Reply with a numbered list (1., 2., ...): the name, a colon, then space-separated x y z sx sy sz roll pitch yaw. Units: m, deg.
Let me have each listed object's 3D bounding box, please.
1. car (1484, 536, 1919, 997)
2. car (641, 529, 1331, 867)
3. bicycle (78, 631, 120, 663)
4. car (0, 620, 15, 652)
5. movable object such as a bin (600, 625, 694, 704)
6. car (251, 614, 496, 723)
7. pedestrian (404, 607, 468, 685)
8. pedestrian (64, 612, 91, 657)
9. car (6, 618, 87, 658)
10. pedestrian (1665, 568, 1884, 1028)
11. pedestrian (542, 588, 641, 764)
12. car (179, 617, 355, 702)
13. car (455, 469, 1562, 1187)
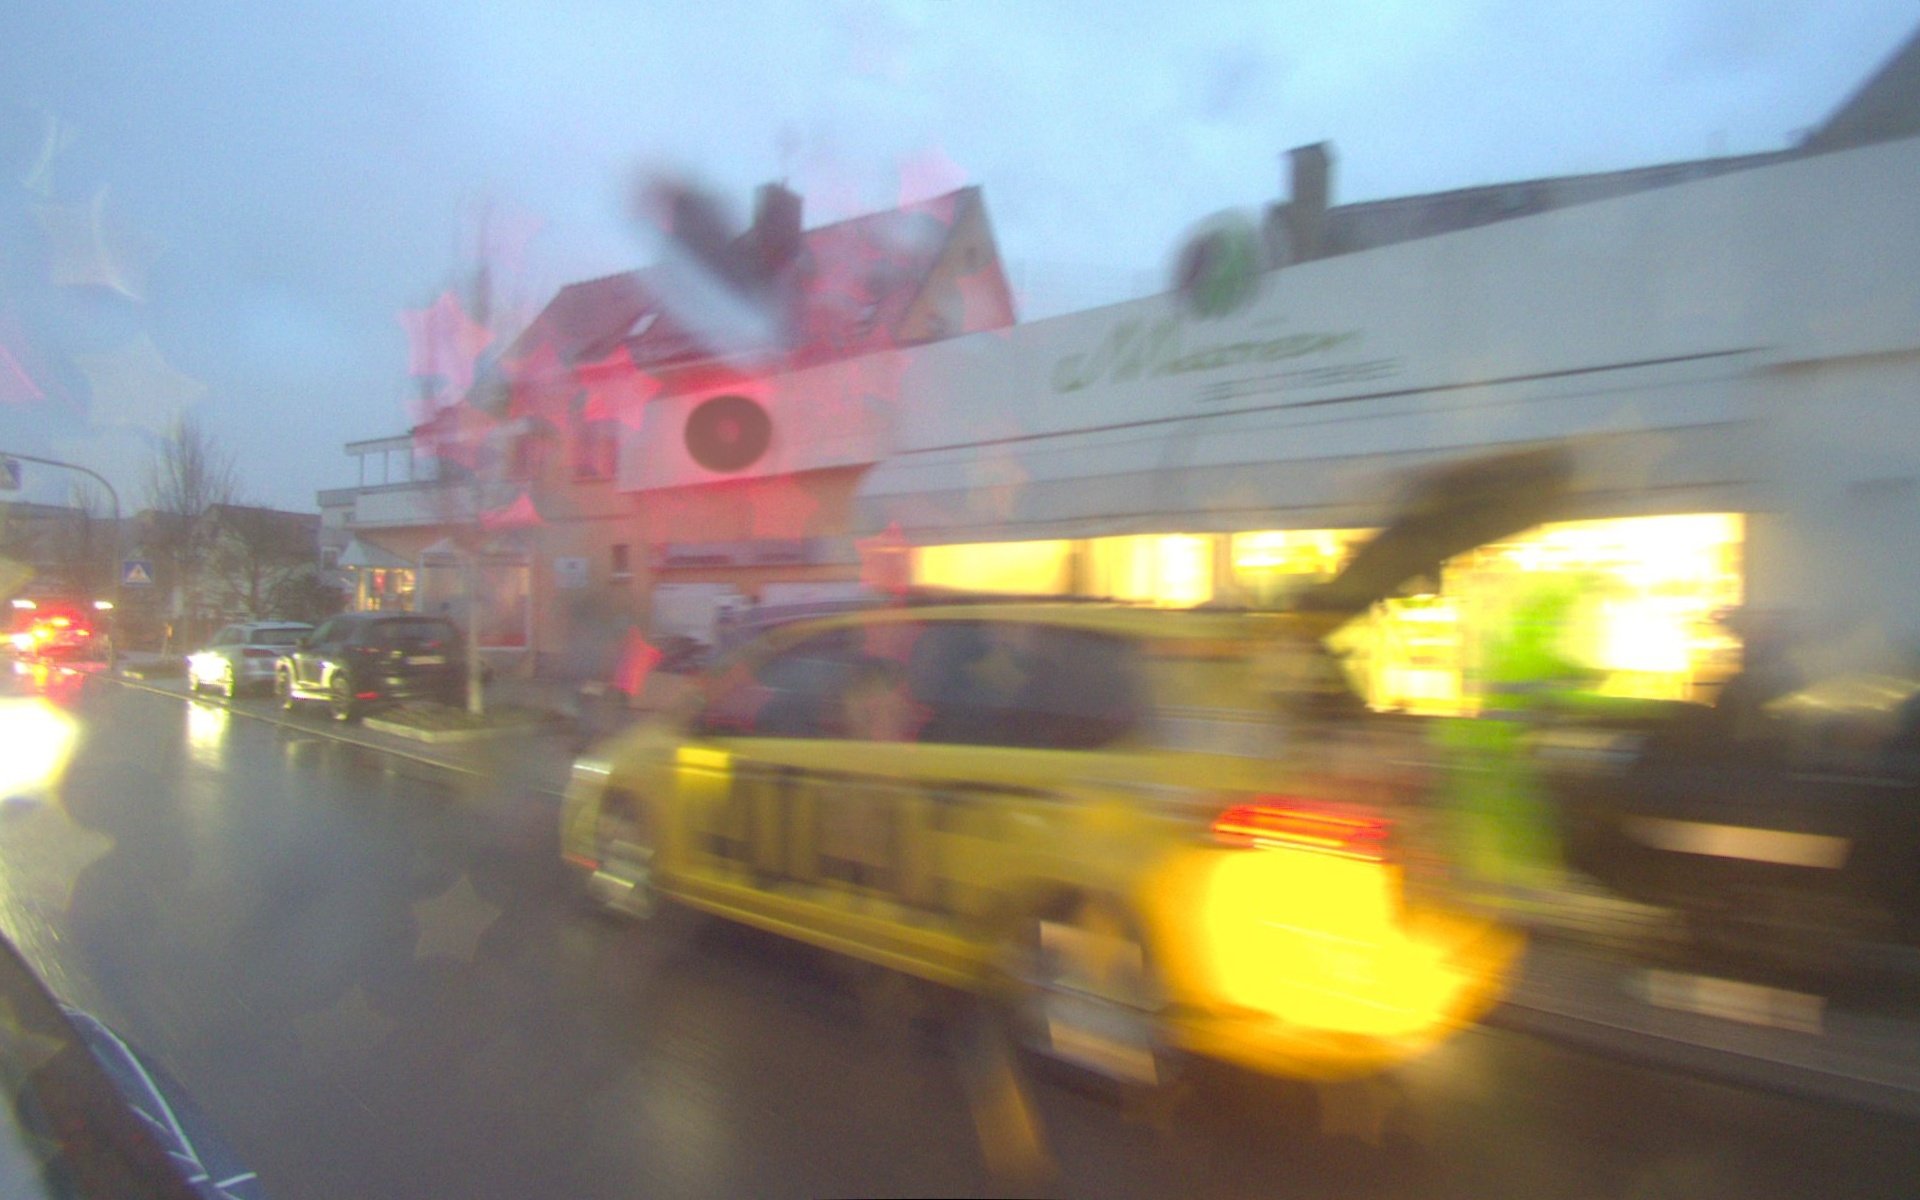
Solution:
1. car: 4.848 0.612 3.936 4.708 1.723 1.861 -1 0 40
2. car: -0.031 0.572 7.739 5.014 1.806 2.067 -1 -1 36
3. bicycle: -29.770 1.632 34.987 1.734 1.070 0.322 -2 -7 24
4. car: -46.006 1.685 47.604 4.371 1.442 1.678 -1 -1 39
5. movable object such as a bin: -5.694 1.174 18.474 0.886 1.364 1.330 0 -4 31
6. car: -9.752 0.998 16.641 4.975 1.534 1.973 -1 -1 41
7. pedestrian: -11.618 0.995 22.443 1.094 1.671 0.820 -1 0 33
8. pedestrian: -40.722 1.587 46.697 0.889 2.029 0.791 1 -2 -43
9. car: -36.968 1.504 40.921 4.177 1.500 1.767 0 0 39
10. pedestrian: 3.126 0.698 3.919 0.575 1.597 0.523 -2 -3 38
11. pedestrian: -4.210 0.829 11.533 0.995 1.890 0.946 0 -1 -24
12. car: -14.620 1.156 21.252 4.618 1.570 1.973 -1 0 41
13. car: -0.204 0.606 4.763 4.961 1.718 1.974 -3 0 39
